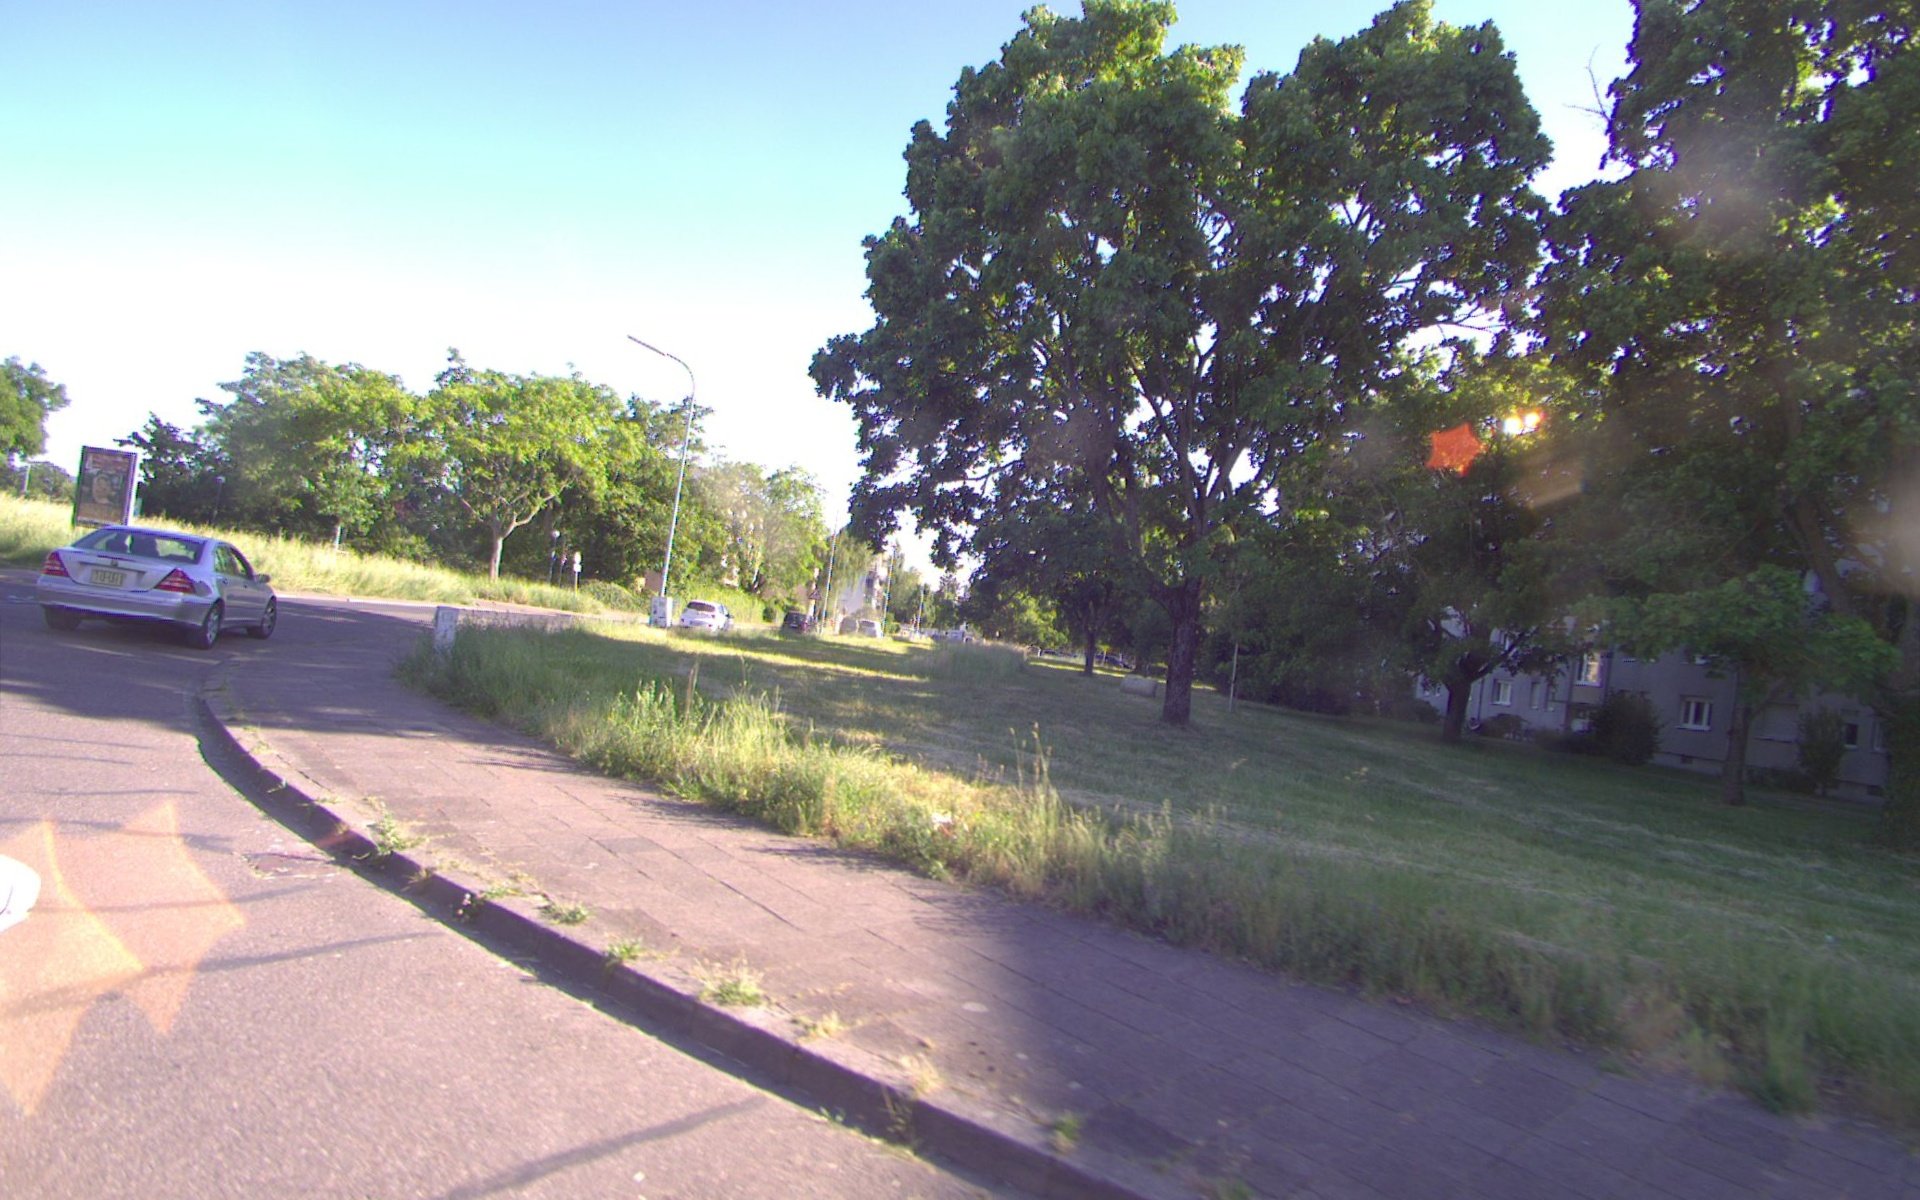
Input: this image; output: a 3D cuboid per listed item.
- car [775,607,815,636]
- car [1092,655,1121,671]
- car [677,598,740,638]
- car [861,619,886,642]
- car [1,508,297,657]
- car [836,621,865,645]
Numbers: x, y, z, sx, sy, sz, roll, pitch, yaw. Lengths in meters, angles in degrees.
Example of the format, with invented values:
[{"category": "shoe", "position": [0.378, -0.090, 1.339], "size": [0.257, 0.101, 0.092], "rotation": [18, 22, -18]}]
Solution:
[{"category": "car", "position": [-10.610, 1.431, 64.889], "size": [1.672, 1.629, 4.003], "rotation": [6, -2, 1]}, {"category": "car", "position": [20.303, 8.720, 139.208], "size": [3.645, 1.635, 1.703], "rotation": [7, -4, 18]}, {"category": "car", "position": [-11.192, 0.827, 44.986], "size": [1.696, 1.496, 3.742], "rotation": [8, -2, 0]}, {"category": "car", "position": [-8.374, 2.950, 97.262], "size": [1.673, 1.872, 3.854], "rotation": [10, -2, 2]}, {"category": "car", "position": [-10.880, -0.201, 13.934], "size": [1.799, 1.479, 4.341], "rotation": [9, -3, -21]}, {"category": "car", "position": [-9.454, 2.889, 87.079], "size": [1.673, 1.779, 3.854], "rotation": [10, -2, 2]}]
